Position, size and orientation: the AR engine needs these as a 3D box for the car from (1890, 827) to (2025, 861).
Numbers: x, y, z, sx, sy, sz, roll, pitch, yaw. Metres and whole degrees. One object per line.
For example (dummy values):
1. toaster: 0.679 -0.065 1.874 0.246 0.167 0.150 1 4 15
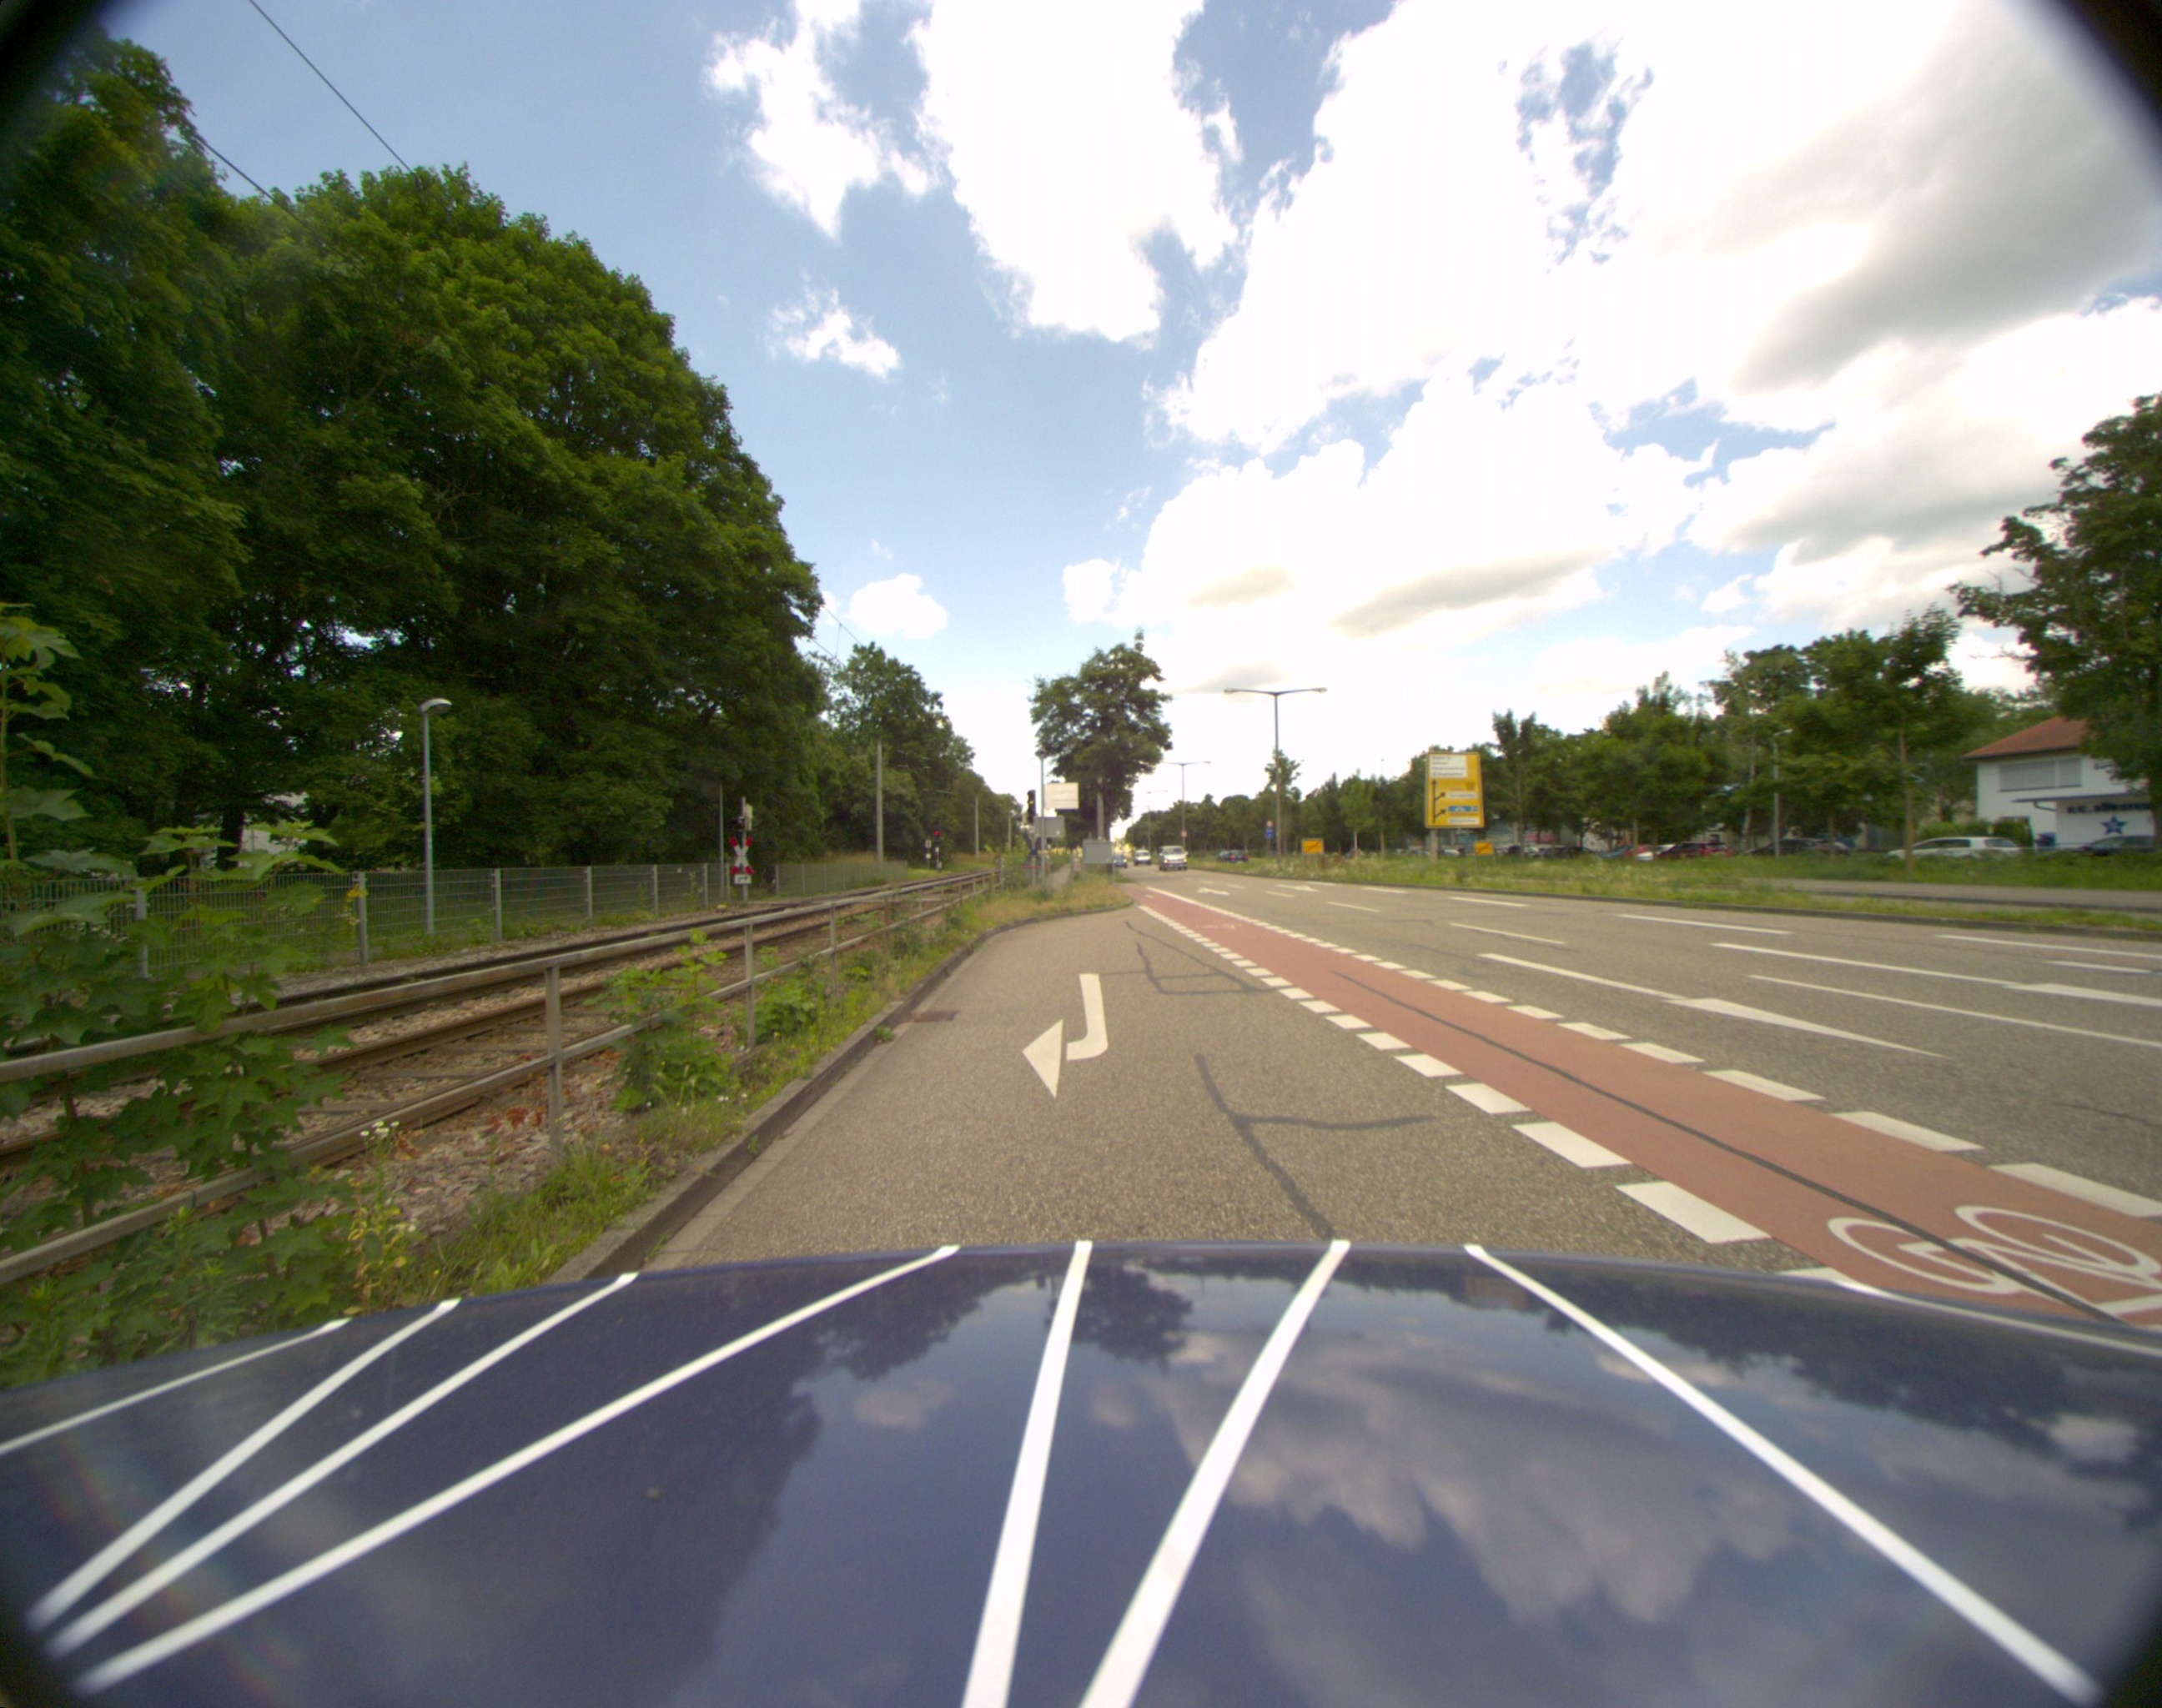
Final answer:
1. car: 36.248 -0.405 31.545 1.625 1.324 3.476 -1 0 1

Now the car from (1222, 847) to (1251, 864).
1. car: 13.561 0.152 66.337 1.686 1.437 3.692 -1 0 -2

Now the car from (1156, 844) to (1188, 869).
1. car: 7.383 0.204 62.003 1.818 1.907 5.231 -1 1 -2

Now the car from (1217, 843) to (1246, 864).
1. car: 15.313 -0.077 77.604 1.999 2.002 3.999 -1 0 -2

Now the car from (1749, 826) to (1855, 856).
1. car: 36.154 -0.615 38.244 1.729 1.403 3.866 -1 0 1

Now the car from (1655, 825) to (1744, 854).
1. car: 36.178 -0.814 44.614 1.998 1.578 4.023 -1 0 1

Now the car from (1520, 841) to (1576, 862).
1. car: 36.948 -0.210 60.237 1.998 1.578 4.023 -1 0 1

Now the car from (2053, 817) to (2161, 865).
1. car: 36.510 -0.440 25.841 1.762 1.578 4.023 -1 0 1

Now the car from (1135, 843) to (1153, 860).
1. car: 7.358 -0.300 88.783 1.747 1.775 4.156 -2 1 2
